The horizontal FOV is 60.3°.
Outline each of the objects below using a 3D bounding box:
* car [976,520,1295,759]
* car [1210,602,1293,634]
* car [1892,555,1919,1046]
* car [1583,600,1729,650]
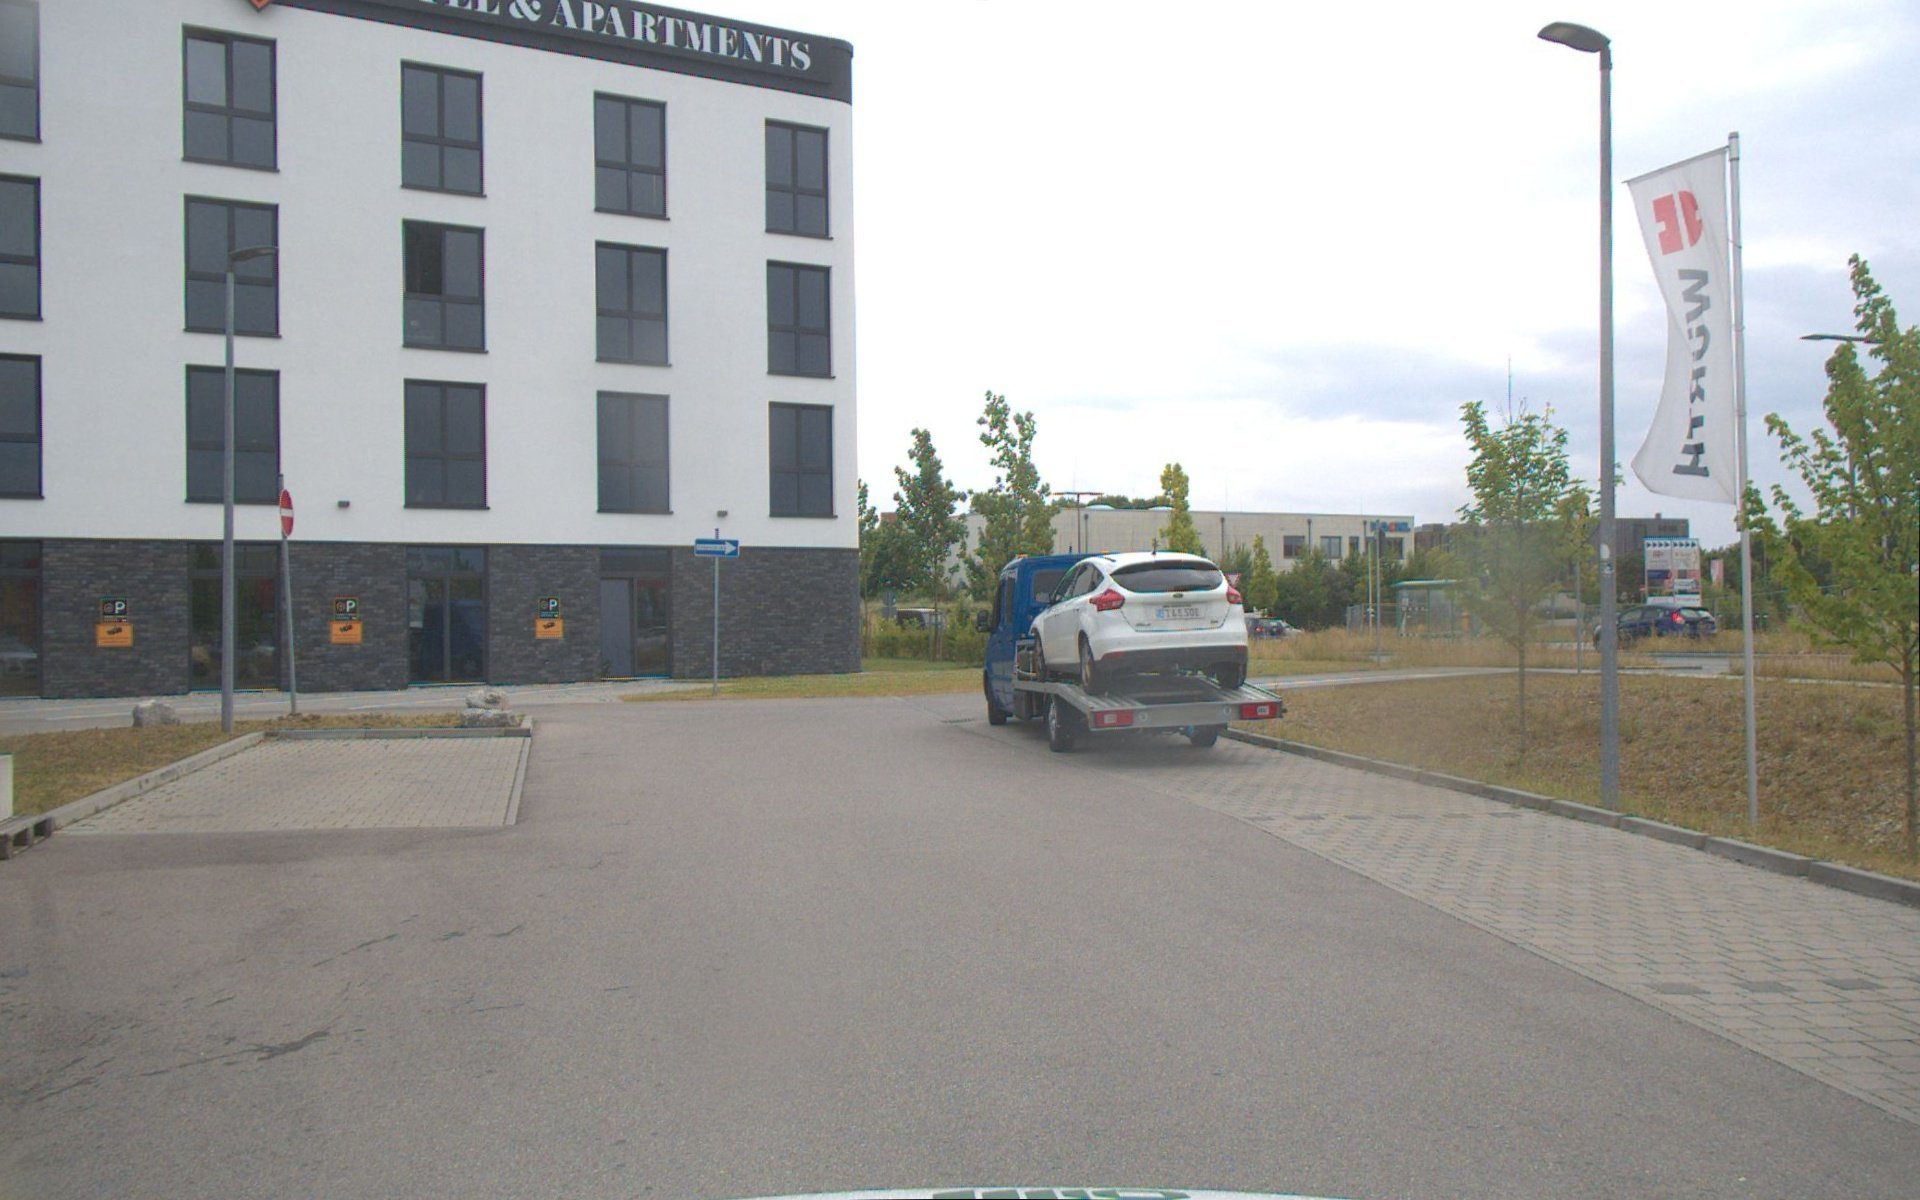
[{"bbox_3d":[1.810,0.447,20.469,2.152,2.363,7.843,-1,-1,-7],"label":"car"},{"bbox_3d":[12.036,0.726,68.505,1.688,1.246,3.979,-1,0,-18],"label":"car"},{"bbox_3d":[4.572,0.685,3.959,1.716,1.713,4.286,0,0,-11],"label":"car"},{"bbox_3d":[20.071,0.700,47.846,1.688,1.347,3.979,-1,0,-18],"label":"car"}]
